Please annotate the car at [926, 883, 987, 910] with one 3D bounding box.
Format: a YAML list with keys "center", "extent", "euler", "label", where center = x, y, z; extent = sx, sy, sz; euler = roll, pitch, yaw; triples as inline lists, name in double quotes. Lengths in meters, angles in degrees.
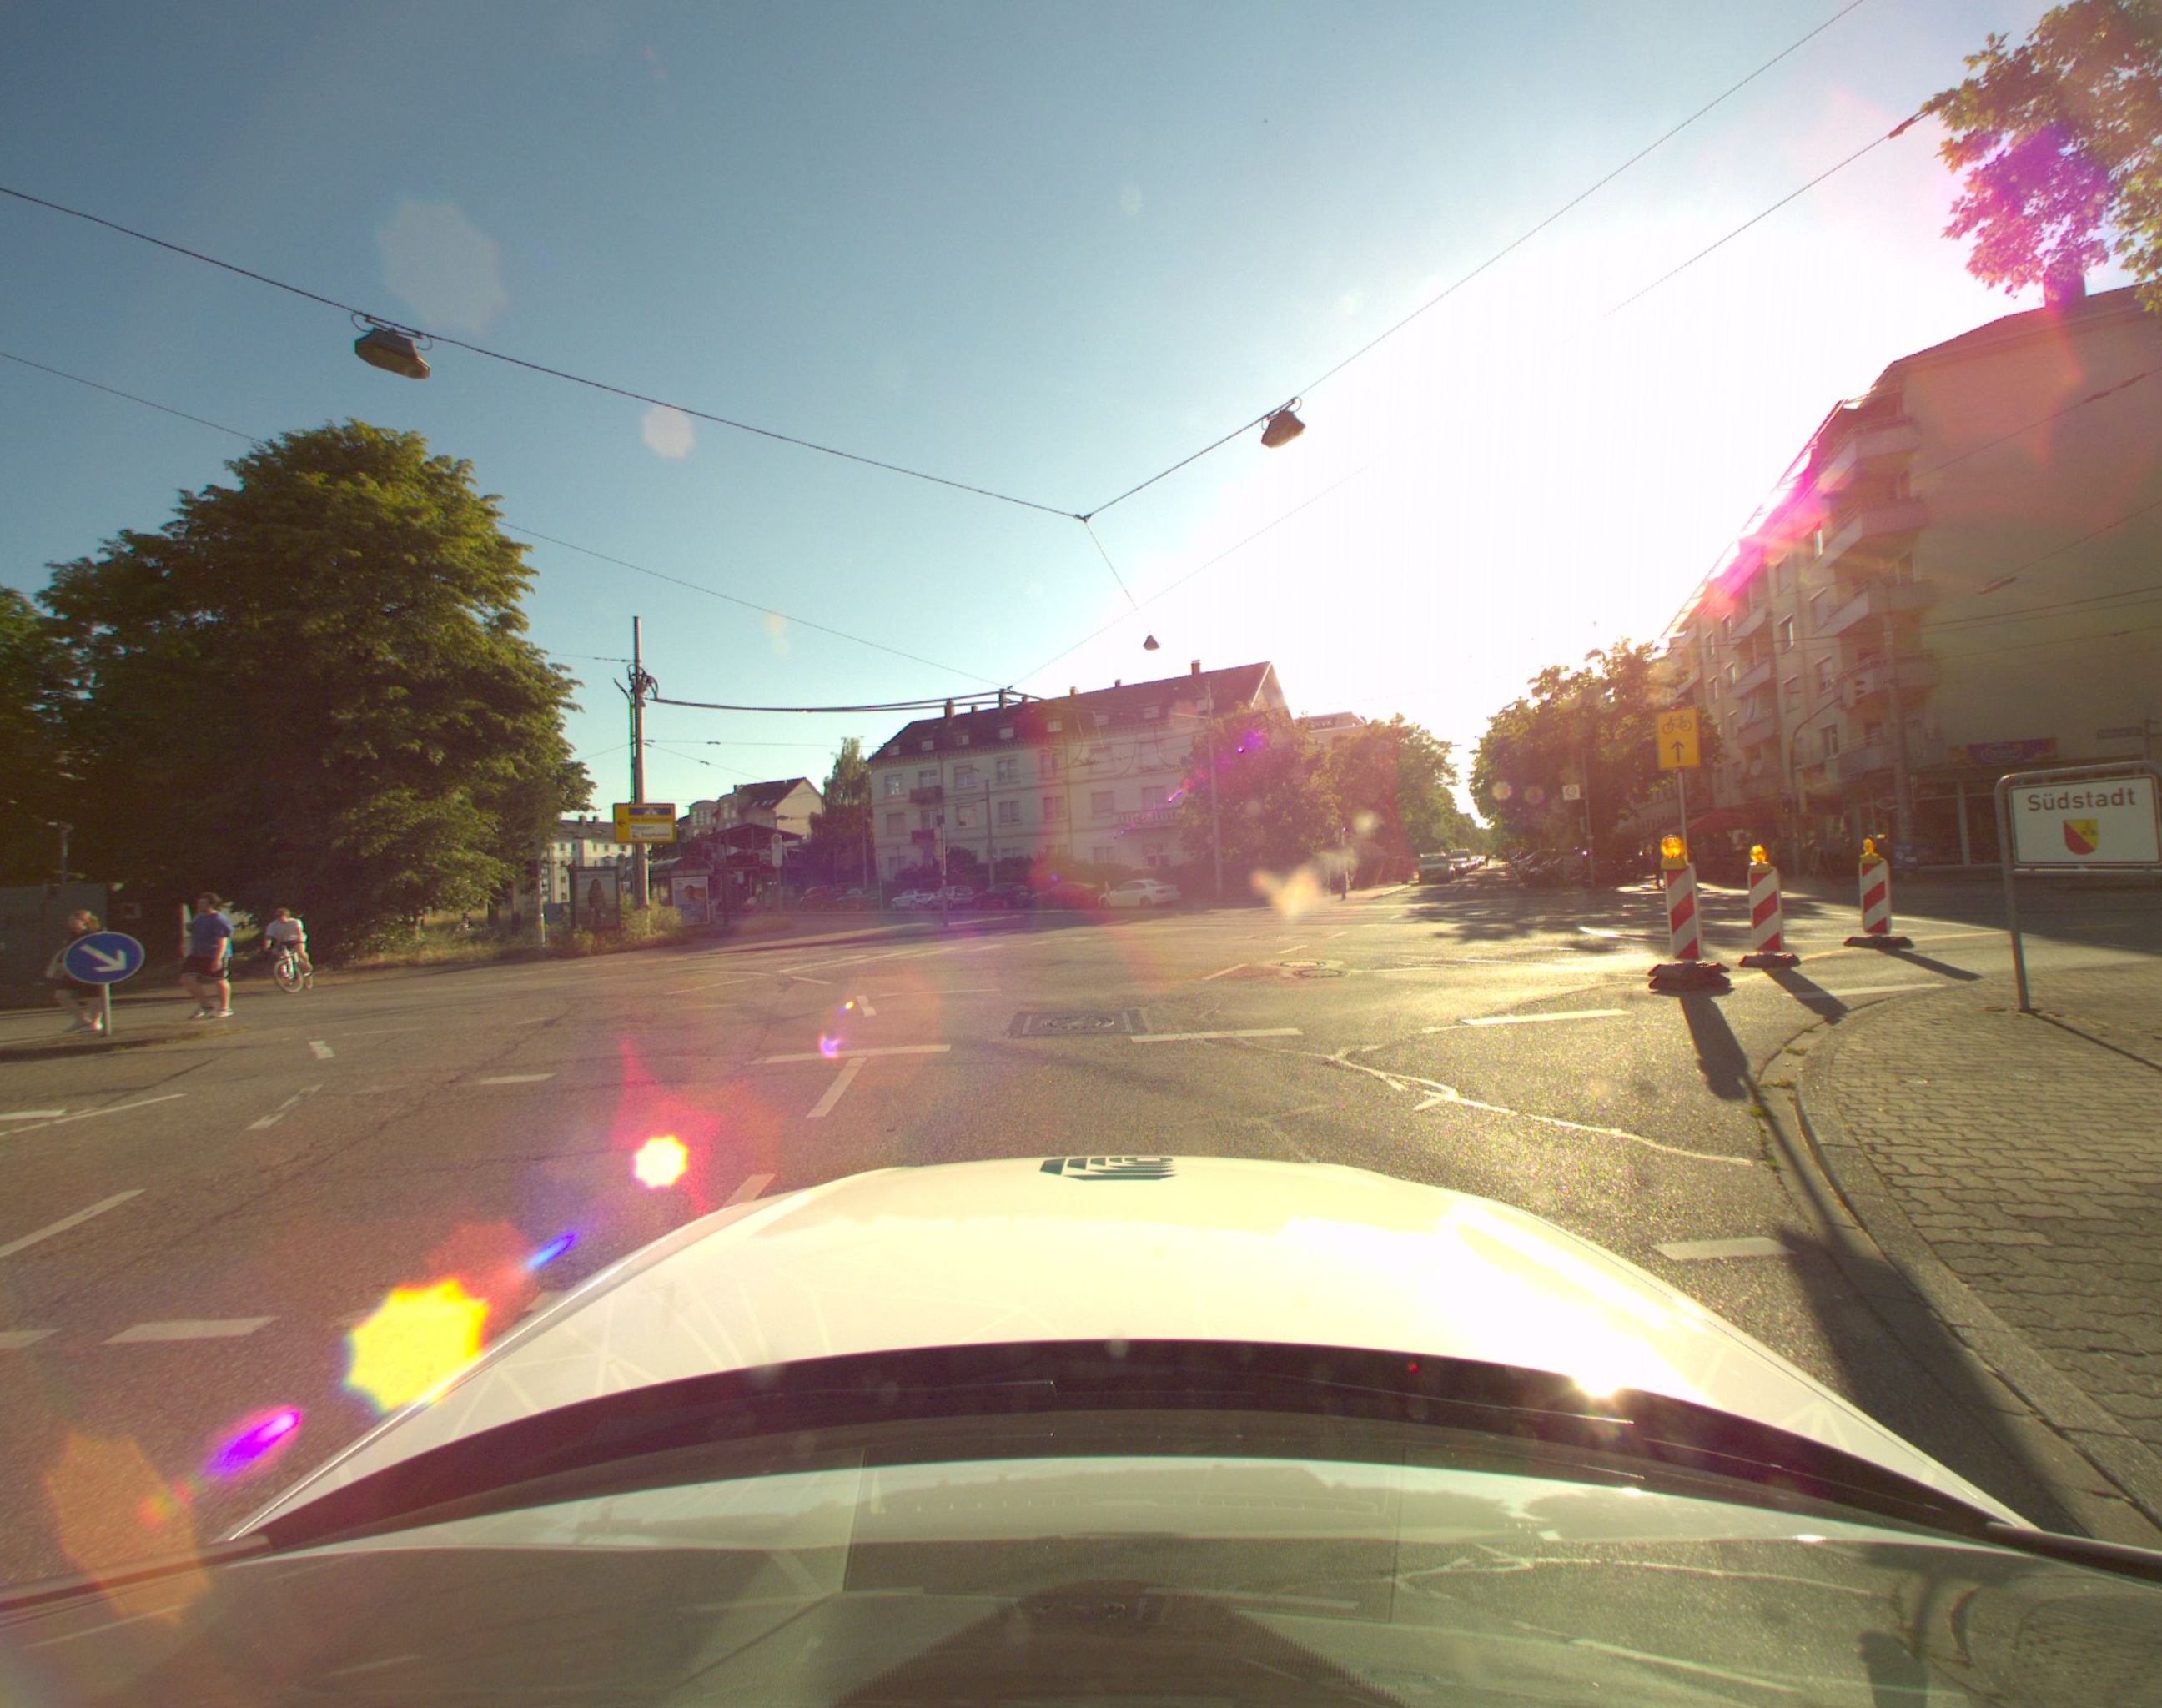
- center: [-7.876, 2.670, 51.272]
  extent: [1.999, 1.447, 3.673]
  euler: [-4, 0, -43]
  label: "car"

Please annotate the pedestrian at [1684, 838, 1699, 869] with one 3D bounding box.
- center: [39.982, -0.041, 53.347]
  extent: [0.531, 2.014, 0.514]
  euler: [-3, -2, 19]
  label: "pedestrian"

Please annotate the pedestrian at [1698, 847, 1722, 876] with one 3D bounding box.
- center: [30.948, 0.383, 40.080]
  extent: [0.803, 1.362, 0.920]
  euler: [-4, -3, 32]
  label: "pedestrian"

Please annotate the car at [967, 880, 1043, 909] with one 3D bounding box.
- center: [-4.561, 2.412, 48.196]
  extent: [1.999, 1.447, 4.647]
  euler: [-4, 0, -43]
  label: "car"

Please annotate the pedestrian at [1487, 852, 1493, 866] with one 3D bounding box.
- center: [59.418, 0.760, 118.307]
  extent: [0.729, 2.014, 0.748]
  euler: [-4, -2, 29]
  label: "pedestrian"

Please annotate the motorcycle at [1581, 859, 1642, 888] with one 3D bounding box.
- center: [22.233, 0.813, 34.170]
  extent: [1.935, 1.109, 0.842]
  euler: [-4, -2, 21]
  label: "motorcycle"

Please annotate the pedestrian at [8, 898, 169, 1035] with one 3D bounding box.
- center: [-13.799, 1.517, 11.364]
  extent: [0.910, 1.747, 1.066]
  euler: [-3, -2, -3]
  label: "pedestrian"

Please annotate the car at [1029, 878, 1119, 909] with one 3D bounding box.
- center: [-0.437, 2.151, 43.895]
  extent: [4.645, 1.376, 2.000]
  euler: [-4, 0, 42]
  label: "car"

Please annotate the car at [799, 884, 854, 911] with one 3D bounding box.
- center: [-20.390, 3.487, 65.010]
  extent: [2.068, 1.961, 5.087]
  euler: [-4, 0, -43]
  label: "car"

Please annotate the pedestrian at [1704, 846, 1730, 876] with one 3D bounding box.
- center: [30.353, 0.332, 38.882]
  extent: [0.803, 1.362, 0.920]
  euler: [-4, -3, 32]
  label: "pedestrian"

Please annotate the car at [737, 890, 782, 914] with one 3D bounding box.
- center: [-29.846, 4.483, 75.498]
  extent: [2.068, 1.961, 5.087]
  euler: [-4, 0, -43]
  label: "car"

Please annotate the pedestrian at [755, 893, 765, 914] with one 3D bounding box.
- center: [-23.357, 3.578, 59.238]
  extent: [0.570, 1.501, 0.672]
  euler: [-2, -2, -31]
  label: "pedestrian"

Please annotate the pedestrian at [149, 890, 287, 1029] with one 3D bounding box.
- center: [-12.943, 1.531, 12.252]
  extent: [0.910, 1.925, 1.066]
  euler: [-3, -2, -3]
  label: "pedestrian"

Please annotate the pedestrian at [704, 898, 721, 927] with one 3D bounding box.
- center: [-18.777, 2.990, 41.476]
  extent: [0.499, 1.427, 0.601]
  euler: [-5, -3, 39]
  label: "pedestrian"

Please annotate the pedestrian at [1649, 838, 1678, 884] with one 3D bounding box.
- center: [22.754, 0.262, 31.798]
  extent: [0.799, 1.751, 0.684]
  euler: [-1, -2, -44]
  label: "pedestrian"

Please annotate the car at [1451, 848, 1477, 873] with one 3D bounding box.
- center: [41.448, 0.744, 88.186]
  extent: [2.333, 2.515, 5.339]
  euler: [-4, -2, 24]
  label: "car"

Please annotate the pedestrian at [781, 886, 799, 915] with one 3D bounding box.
- center: [-20.827, 3.326, 58.225]
  extent: [0.928, 2.014, 0.760]
  euler: [-1, -3, -38]
  label: "pedestrian"

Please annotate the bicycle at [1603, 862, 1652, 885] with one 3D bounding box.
- center: [24.023, 0.848, 35.819]
  extent: [1.707, 0.932, 0.565]
  euler: [-4, -2, 27]
  label: "bicycle"

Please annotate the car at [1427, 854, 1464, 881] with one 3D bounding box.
- center: [27.097, 1.012, 60.502]
  extent: [2.333, 1.795, 5.339]
  euler: [-4, -2, 24]
  label: "car"

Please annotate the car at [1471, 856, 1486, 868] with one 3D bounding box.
- center: [61.818, 1.237, 126.684]
  extent: [1.975, 1.689, 4.022]
  euler: [0, -2, 26]
  label: "car"

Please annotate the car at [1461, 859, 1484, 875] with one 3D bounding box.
- center: [49.155, 1.656, 102.243]
  extent: [2.332, 1.795, 5.341]
  euler: [-4, -2, 28]
  label: "car"

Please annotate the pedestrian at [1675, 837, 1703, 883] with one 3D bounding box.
- center: [23.436, 0.233, 31.395]
  extent: [0.684, 1.751, 0.845]
  euler: [-4, -2, 30]
  label: "pedestrian"

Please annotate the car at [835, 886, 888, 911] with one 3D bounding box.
- center: [-16.226, 3.308, 60.176]
  extent: [1.856, 1.668, 4.316]
  euler: [-4, 0, -43]
  label: "car"

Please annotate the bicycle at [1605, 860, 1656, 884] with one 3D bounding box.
- center: [23.674, 0.774, 35.130]
  extent: [1.707, 0.932, 0.565]
  euler: [-4, -2, 27]
  label: "bicycle"

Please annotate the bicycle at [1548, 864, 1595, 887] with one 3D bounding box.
- center: [22.011, 0.948, 36.548]
  extent: [1.707, 0.932, 0.676]
  euler: [-4, -2, 27]
  label: "bicycle"

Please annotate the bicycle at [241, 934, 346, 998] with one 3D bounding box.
- center: [-16.926, 2.367, 17.579]
  extent: [0.700, 1.142, 2.188]
  euler: [-2, -2, -17]
  label: "bicycle"

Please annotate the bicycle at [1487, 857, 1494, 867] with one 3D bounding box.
- center: [59.492, 1.126, 118.297]
  extent: [0.759, 1.324, 1.935]
  euler: [-4, -2, 27]
  label: "bicycle"

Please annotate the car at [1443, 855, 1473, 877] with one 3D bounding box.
- center: [34.192, 1.089, 73.955]
  extent: [2.333, 1.795, 5.339]
  euler: [-4, -2, 24]
  label: "car"

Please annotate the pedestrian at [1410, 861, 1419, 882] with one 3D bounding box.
- center: [27.054, 1.429, 66.113]
  extent: [0.574, 1.731, 0.611]
  euler: [-3, -2, 21]
  label: "pedestrian"

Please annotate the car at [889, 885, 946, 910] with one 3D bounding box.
- center: [-10.978, 2.949, 54.606]
  extent: [1.856, 1.447, 3.910]
  euler: [-4, 0, -43]
  label: "car"

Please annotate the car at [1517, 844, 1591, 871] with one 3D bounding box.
- center: [39.602, 0.361, 68.306]
  extent: [5.044, 1.924, 2.375]
  euler: [-4, -4, 24]
  label: "car"

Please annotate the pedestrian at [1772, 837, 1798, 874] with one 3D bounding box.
- center: [30.745, 0.079, 35.580]
  extent: [0.613, 1.592, 0.480]
  euler: [-3, -2, 10]
  label: "pedestrian"

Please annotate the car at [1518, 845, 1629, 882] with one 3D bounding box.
- center: [30.393, 0.625, 50.533]
  extent: [5.569, 1.924, 2.375]
  euler: [-4, -4, 24]
  label: "car"

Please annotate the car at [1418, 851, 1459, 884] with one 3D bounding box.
- center: [24.177, 0.894, 54.980]
  extent: [2.333, 2.014, 5.339]
  euler: [-4, -2, 24]
  label: "car"

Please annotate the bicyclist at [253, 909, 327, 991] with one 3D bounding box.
- center: [-17.062, 2.039, 17.588]
  extent: [0.713, 1.629, 1.036]
  euler: [-2, -2, -16]
  label: "bicyclist"

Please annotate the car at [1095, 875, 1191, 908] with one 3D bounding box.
- center: [3.004, 1.868, 40.076]
  extent: [1.942, 1.376, 4.441]
  euler: [-4, 0, -45]
  label: "car"
